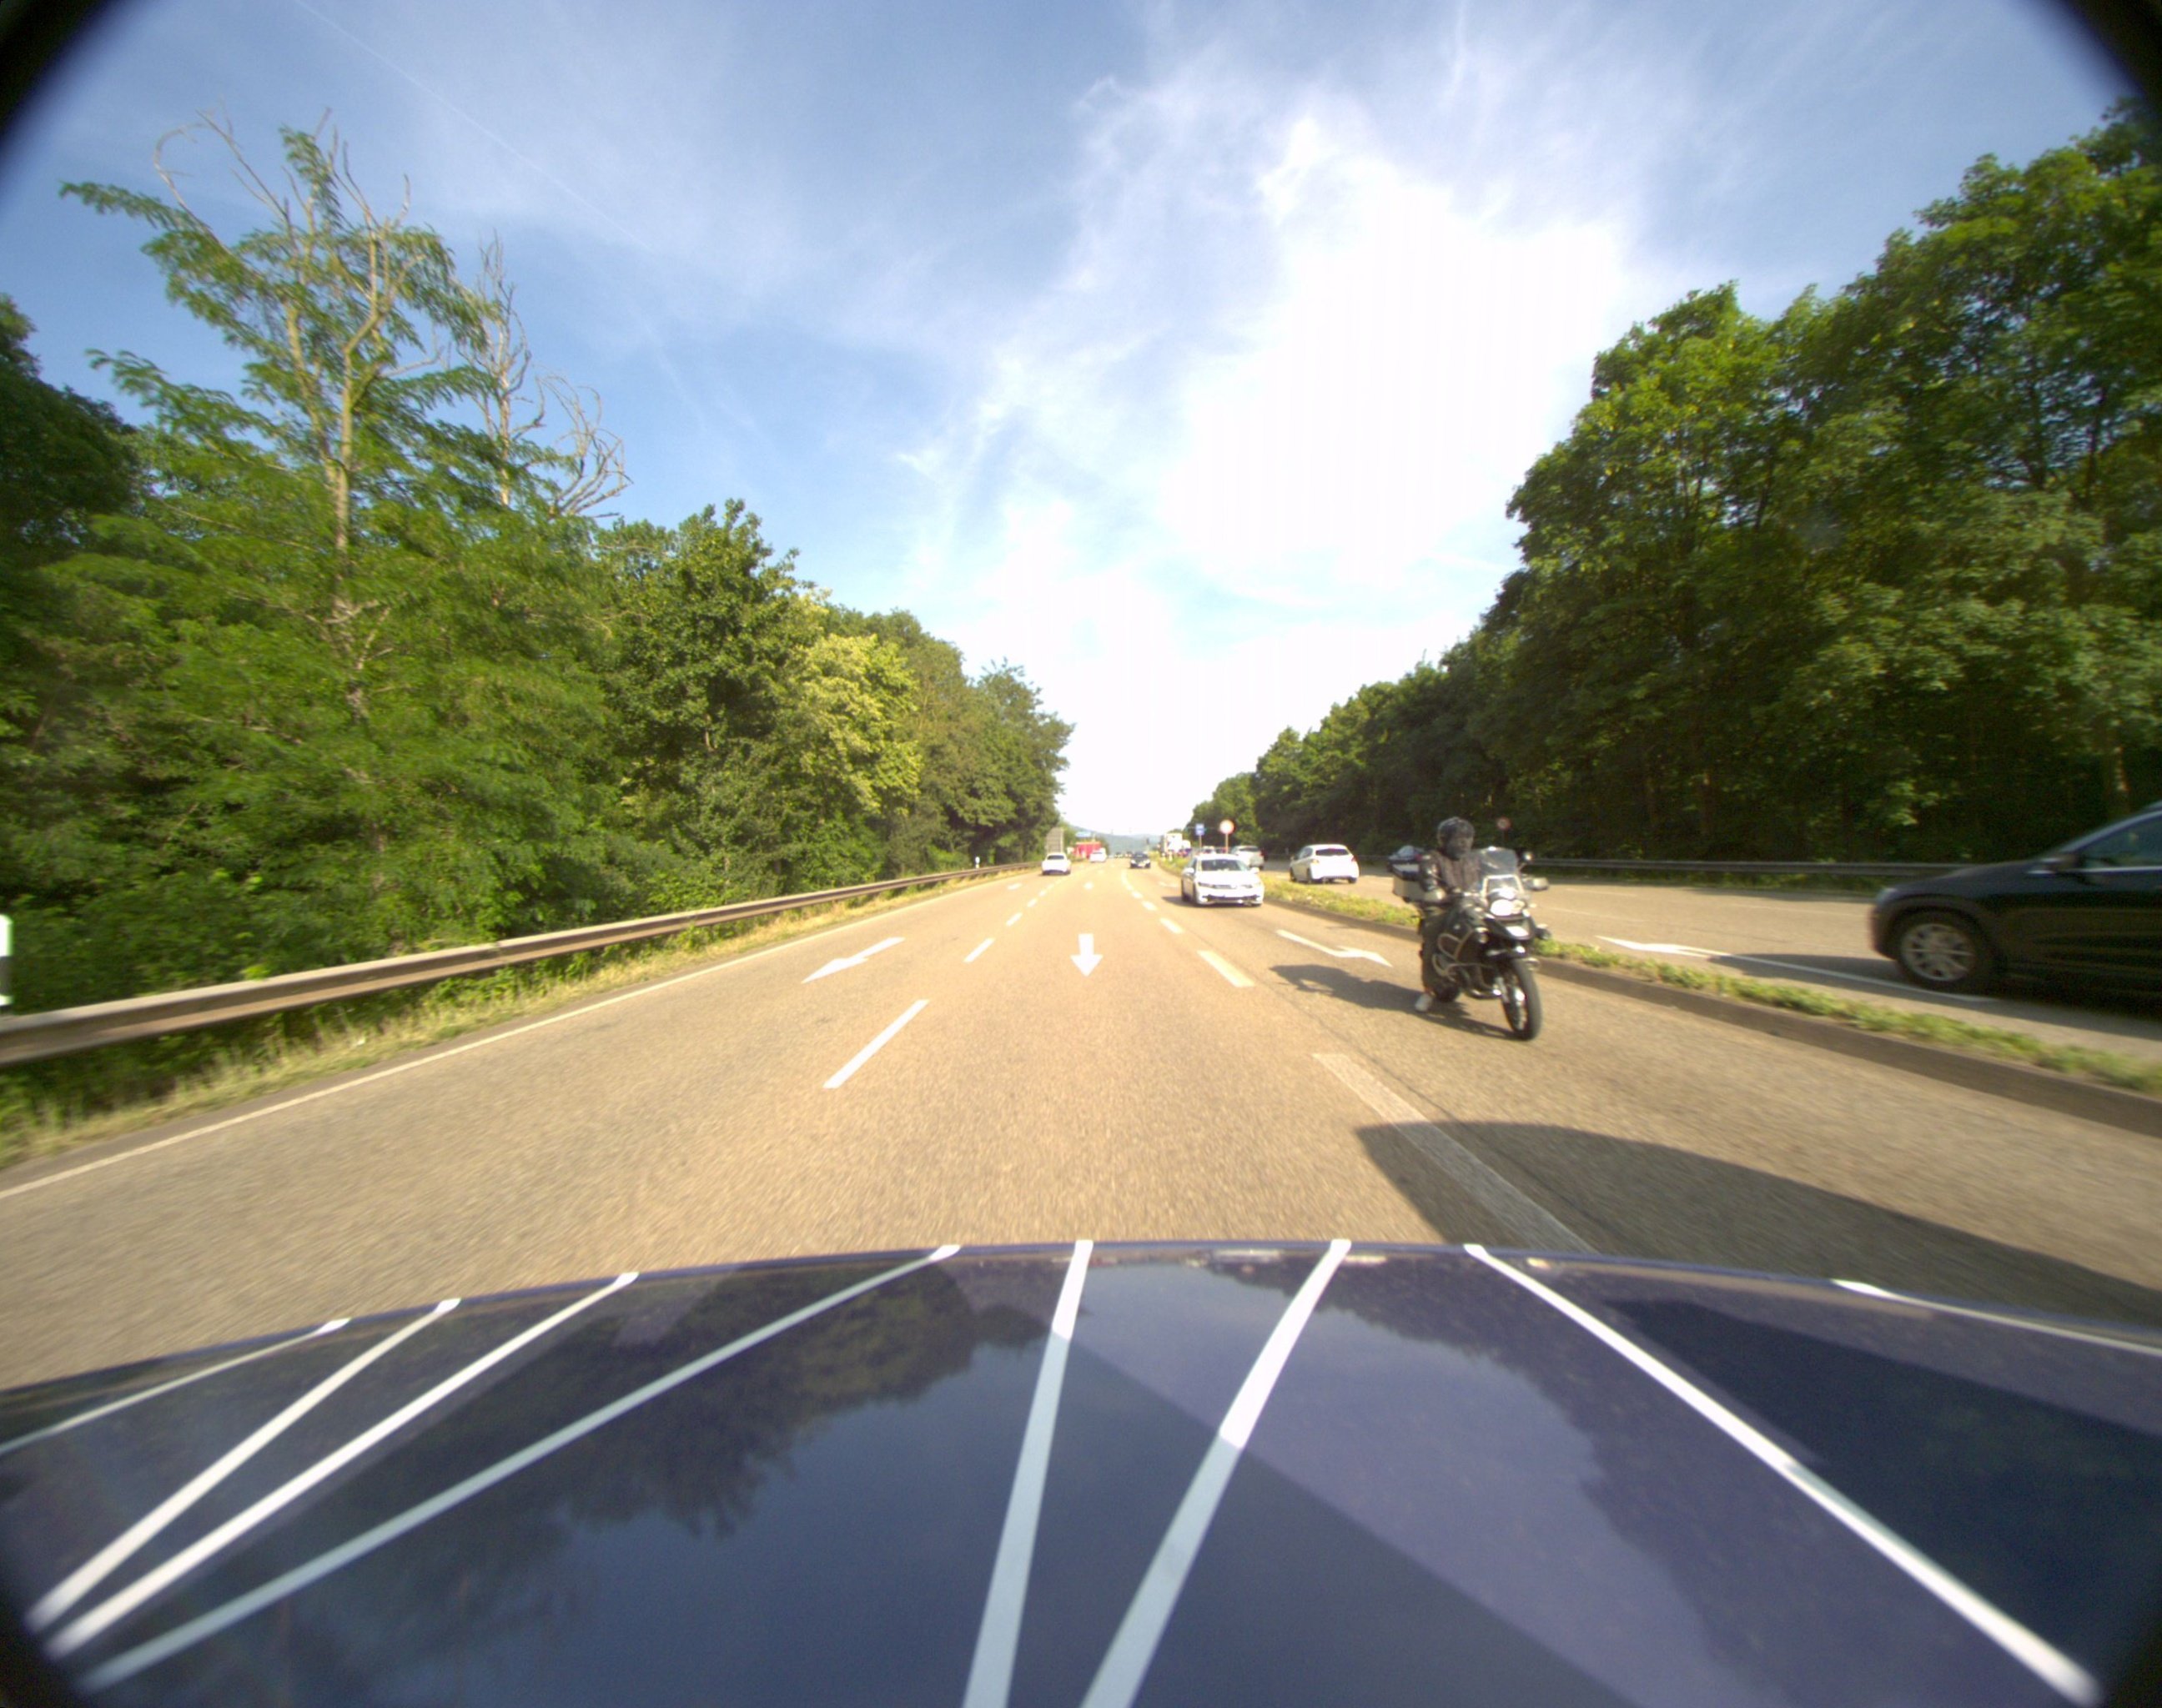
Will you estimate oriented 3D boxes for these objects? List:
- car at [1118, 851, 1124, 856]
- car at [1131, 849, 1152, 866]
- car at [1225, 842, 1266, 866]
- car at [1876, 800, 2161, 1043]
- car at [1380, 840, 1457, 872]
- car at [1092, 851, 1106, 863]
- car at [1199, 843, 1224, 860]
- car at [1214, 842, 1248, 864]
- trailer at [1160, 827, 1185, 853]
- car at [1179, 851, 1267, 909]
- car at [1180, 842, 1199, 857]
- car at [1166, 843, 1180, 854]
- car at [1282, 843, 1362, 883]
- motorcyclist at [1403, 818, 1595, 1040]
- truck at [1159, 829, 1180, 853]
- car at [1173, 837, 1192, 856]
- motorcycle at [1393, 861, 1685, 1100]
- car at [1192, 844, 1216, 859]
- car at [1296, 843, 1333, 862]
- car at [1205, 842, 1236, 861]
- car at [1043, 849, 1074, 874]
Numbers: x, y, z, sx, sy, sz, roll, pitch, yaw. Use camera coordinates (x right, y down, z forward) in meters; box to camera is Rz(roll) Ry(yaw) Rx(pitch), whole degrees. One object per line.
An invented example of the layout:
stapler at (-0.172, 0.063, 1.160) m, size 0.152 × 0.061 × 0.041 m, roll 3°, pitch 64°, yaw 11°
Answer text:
car at (10.803, -0.213, 203.892) m, size 1.498 × 1.346 × 3.554 m, roll -4°, pitch 0°, yaw 1°
car at (5.721, 0.316, 72.275) m, size 1.861 × 1.452 × 4.570 m, roll -4°, pitch 0°, yaw 3°
car at (10.202, -0.015, 47.446) m, size 1.872 × 1.409 × 4.416 m, roll -1°, pitch 0°, yaw 4°
car at (8.848, 0.478, 5.107) m, size 2.081 × 1.753 × 4.757 m, roll -1°, pitch 0°, yaw 1°
car at (16.657, 0.092, 37.780) m, size 1.792 × 1.398 × 4.754 m, roll -2°, pitch 0°, yaw 1°
car at (2.630, 0.458, 111.070) m, size 1.998 × 1.632 × 4.000 m, roll -4°, pitch 0°, yaw 1°
car at (11.141, -0.198, 65.168) m, size 1.710 × 1.415 × 4.212 m, roll -1°, pitch 0°, yaw 4°
car at (10.460, -0.084, 53.267) m, size 1.771 × 1.409 × 4.435 m, roll -1°, pitch 0°, yaw 4°
trailer at (15.326, -2.304, 128.085) m, size 2.998 × 3.972 × 14.015 m, roll -4°, pitch 0°, yaw 3°
car at (4.063, 0.681, 22.532) m, size 1.874 × 1.513 × 4.834 m, roll -1°, pitch 0°, yaw 2°
car at (12.492, -0.488, 87.427) m, size 1.775 × 1.659 × 4.801 m, roll -1°, pitch 0°, yaw 4°
car at (14.235, -0.864, 117.633) m, size 1.704 × 1.622 × 4.371 m, roll -1°, pitch 0°, yaw 2°
car at (9.126, 0.310, 29.100) m, size 1.792 × 1.403 × 4.227 m, roll -1°, pitch 0°, yaw 1°
motorcyclist at (3.380, 0.562, 6.302) m, size 0.885 × 1.606 × 1.290 m, roll -4°, pitch 0°, yaw 6°
truck at (15.604, -2.338, 134.781) m, size 2.897 × 3.974 × 6.722 m, roll -4°, pitch 0°, yaw 2°
car at (13.670, -0.970, 102.567) m, size 2.079 × 2.519 × 6.165 m, roll -1°, pitch 0°, yaw 4°
motorcycle at (3.394, 0.796, 6.076) m, size 0.910 × 1.445 × 2.690 m, roll 1°, pitch 0°, yaw 6°
car at (11.626, -0.242, 72.153) m, size 1.775 × 1.415 × 5.194 m, roll -1°, pitch 0°, yaw 4°
car at (17.965, -0.120, 58.592) m, size 1.742 × 1.370 × 4.376 m, roll -1°, pitch 0°, yaw 4°
car at (10.905, -0.174, 59.677) m, size 1.771 × 1.415 × 5.194 m, roll -1°, pitch 0°, yaw 4°
car at (-1.583, 0.506, 54.775) m, size 1.874 × 1.625 × 4.834 m, roll -1°, pitch 0°, yaw 2°
